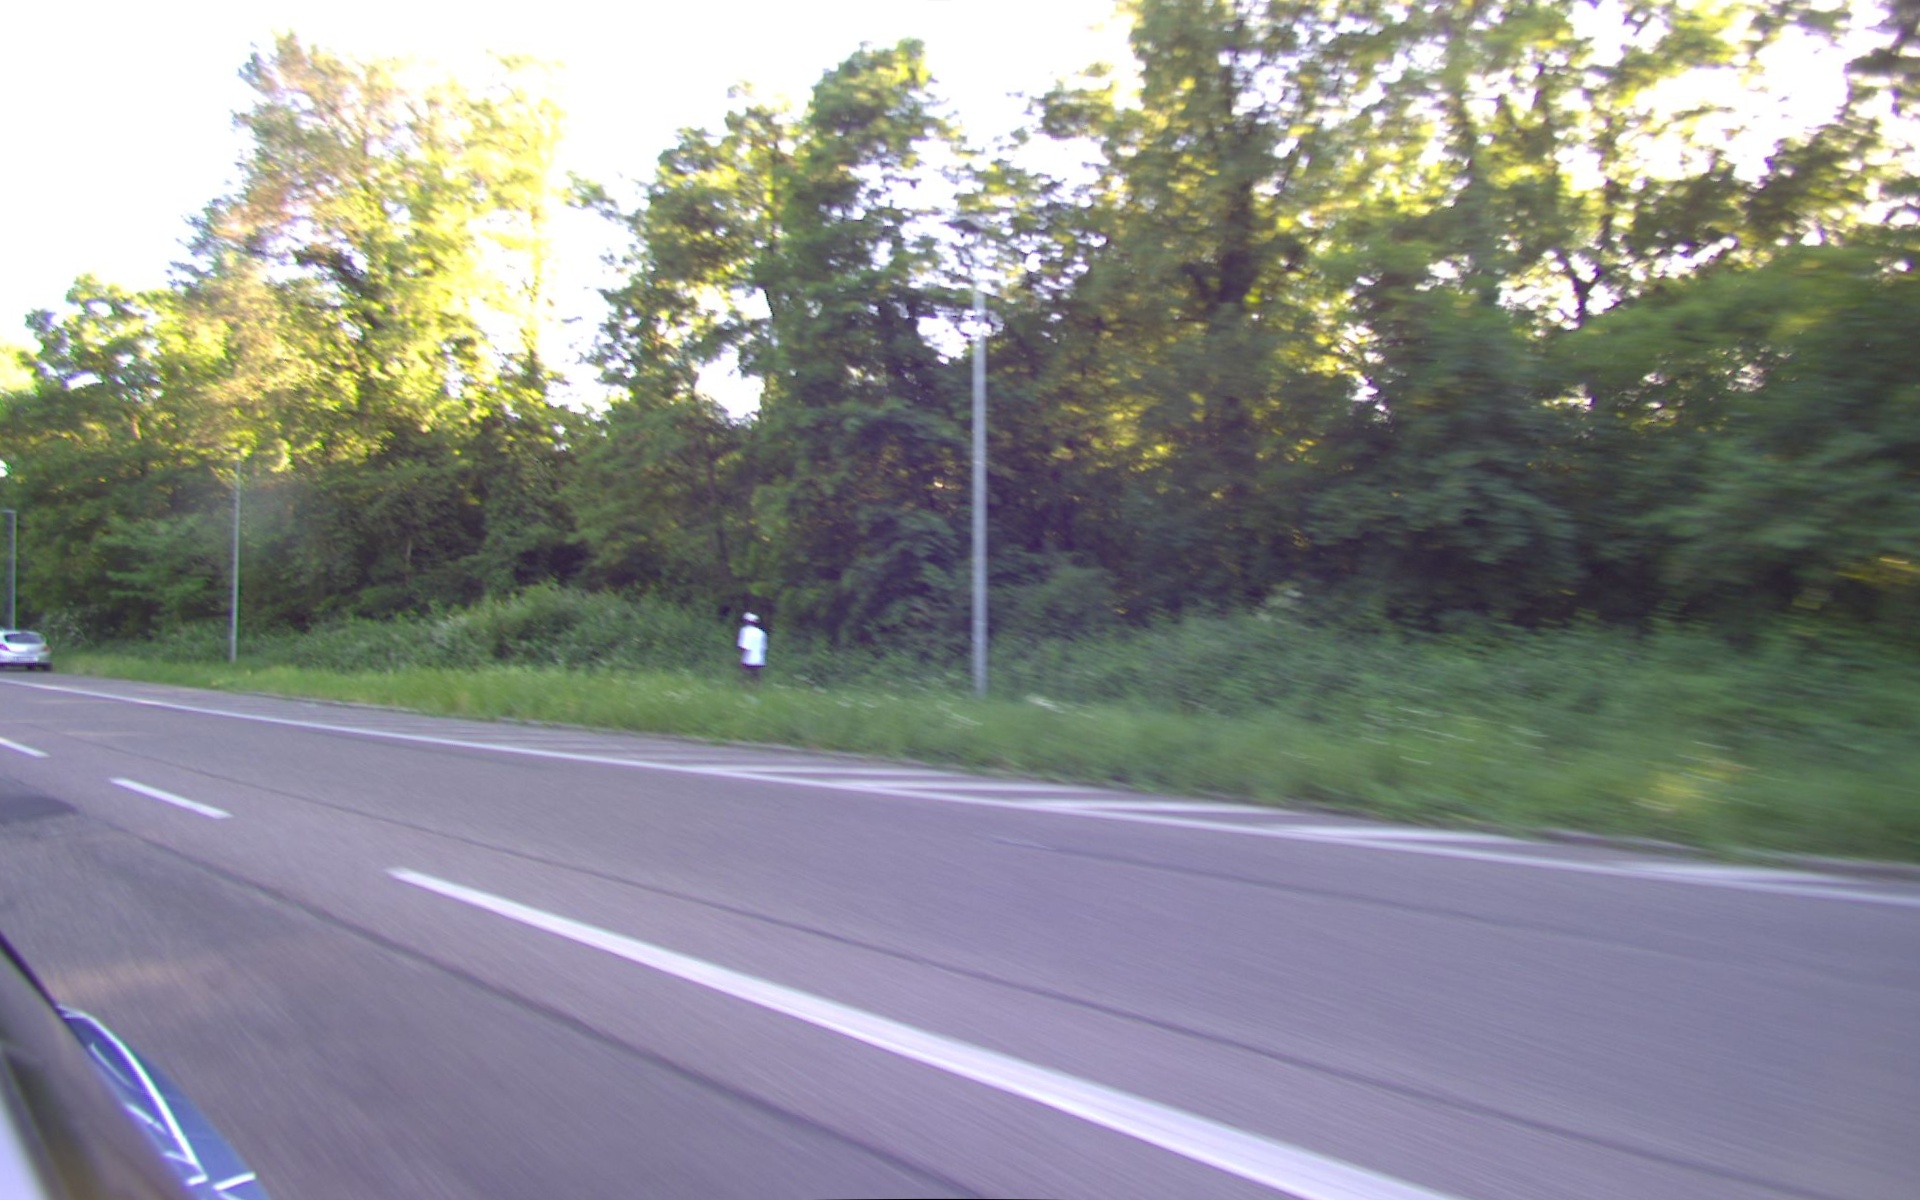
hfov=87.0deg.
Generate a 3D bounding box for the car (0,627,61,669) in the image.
[{"bbox_3d":[-35.194,1.760,37.571,4.005,1.475,1.892,0,-3,37],"label":"car"}]

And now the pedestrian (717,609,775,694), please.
[{"bbox_3d":[-4.087,0.975,19.336,0.825,1.577,0.704,-1,-2,40],"label":"pedestrian"}]

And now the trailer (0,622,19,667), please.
[{"bbox_3d":[-39.345,1.744,40.507,3.641,1.742,1.785,0,-3,37],"label":"trailer"}]
